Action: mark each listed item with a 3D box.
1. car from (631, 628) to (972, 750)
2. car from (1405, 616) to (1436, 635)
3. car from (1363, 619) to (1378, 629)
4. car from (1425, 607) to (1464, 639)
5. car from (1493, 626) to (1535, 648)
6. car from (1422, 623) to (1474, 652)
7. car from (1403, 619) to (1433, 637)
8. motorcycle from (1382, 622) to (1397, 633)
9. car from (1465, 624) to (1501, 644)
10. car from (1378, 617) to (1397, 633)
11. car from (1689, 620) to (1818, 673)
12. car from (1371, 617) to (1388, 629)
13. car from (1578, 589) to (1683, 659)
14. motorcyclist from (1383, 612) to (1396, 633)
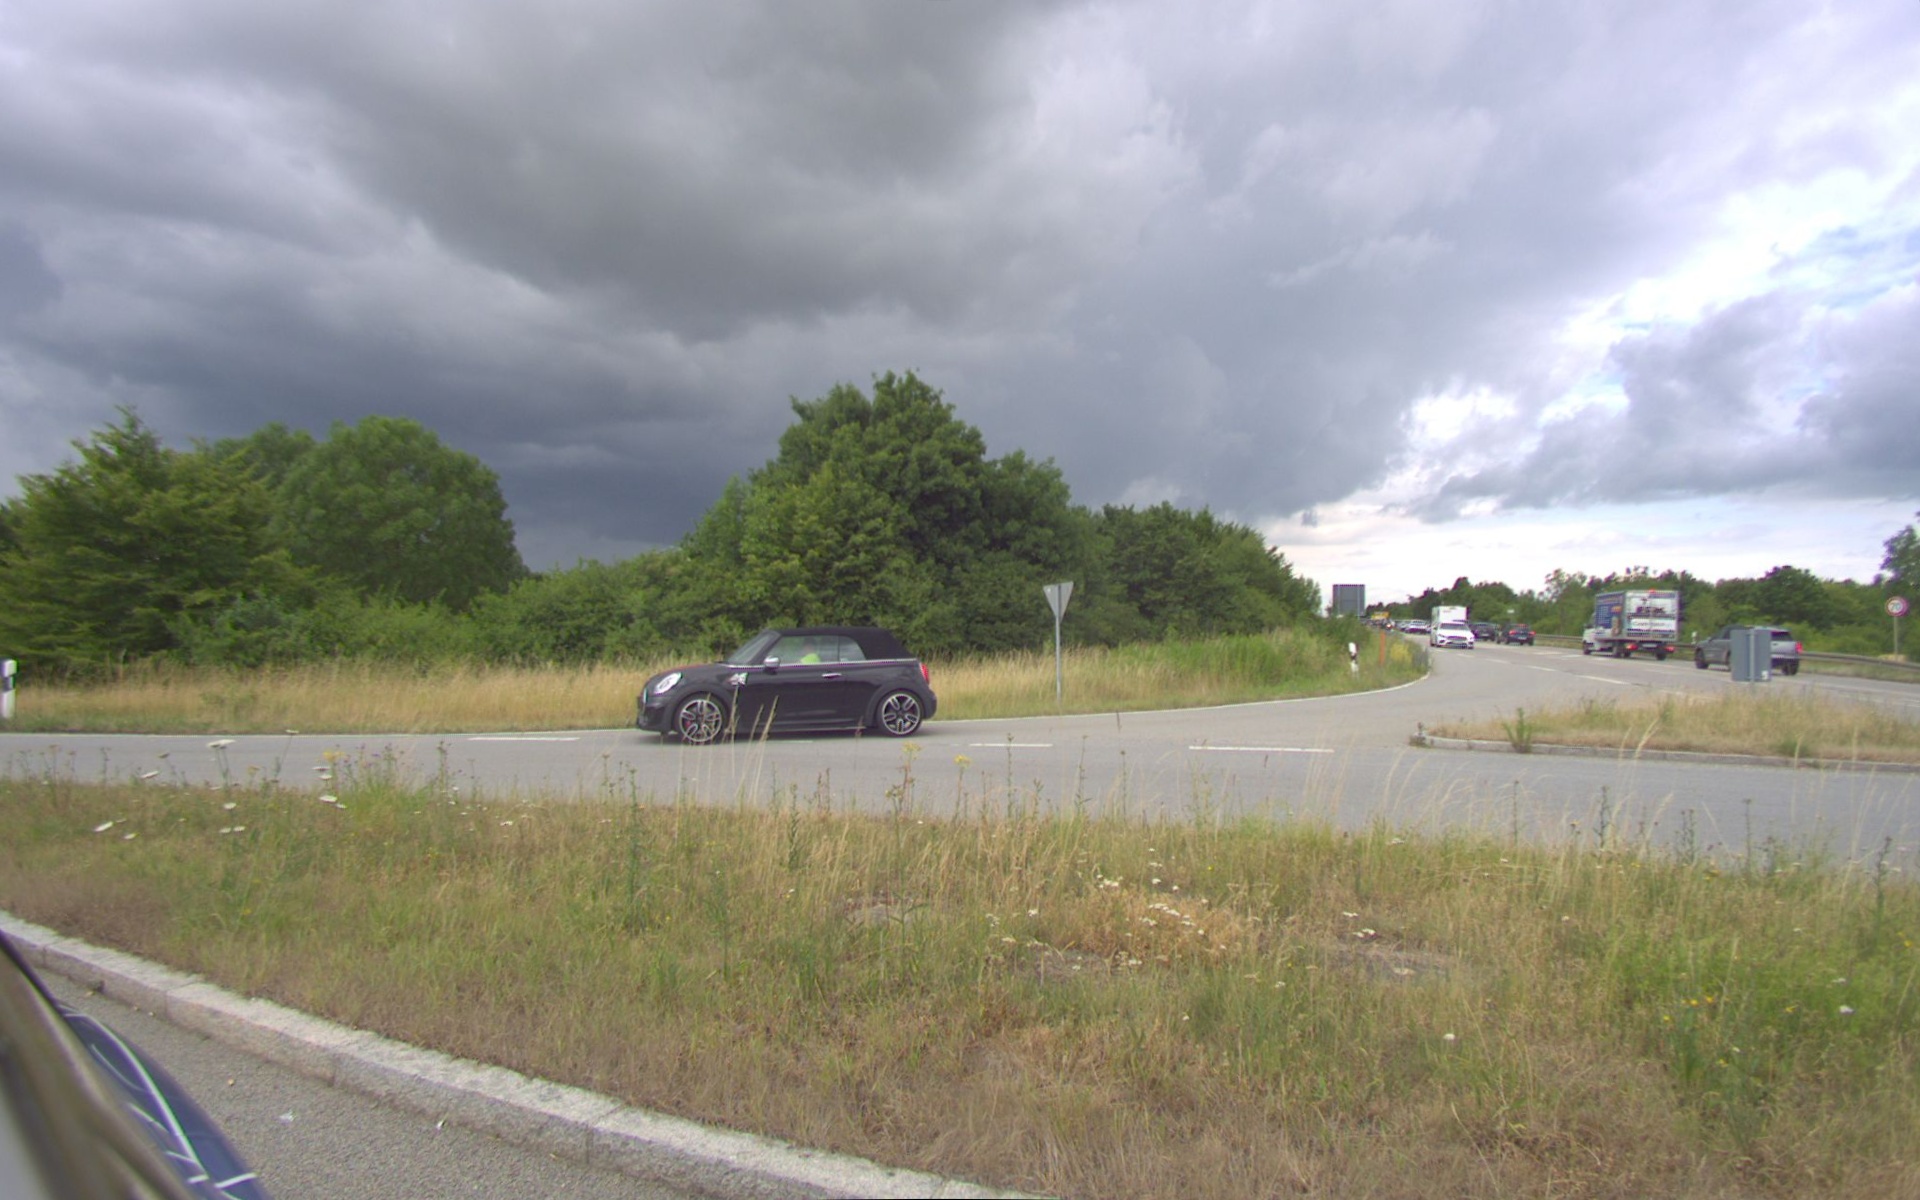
[{"bbox_3d":[-2.068,1.077,13.084,4.097,1.363,1.680,0,-3,-20],"label":"car"},{"bbox_3d":[48.761,2.755,107.293,2.321,1.936,4.848,0,-2,17],"label":"car"},{"bbox_3d":[64.383,3.816,158.873,1.782,1.564,3.978,0,-2,16],"label":"car"},{"bbox_3d":[46.704,2.247,97.682,2.320,3.052,6.522,0,-2,16],"label":"car"},{"bbox_3d":[39.259,2.628,71.789,1.833,1.537,3.977,0,-2,17],"label":"car"},{"bbox_3d":[26.006,2.016,54.078,1.756,1.462,4.369,0,-2,16],"label":"car"},{"bbox_3d":[51.018,3.108,112.862,2.320,1.936,4.849,0,-2,16],"label":"car"},{"bbox_3d":[37.382,2.403,88.077,0.936,0.896,2.134,0,-1,17],"label":"motorcycle"},{"bbox_3d":[42.259,2.768,81.788,1.832,1.537,3.978,0,-2,17],"label":"car"},{"bbox_3d":[55.294,3.285,130.827,1.781,2.029,3.979,0,-2,16],"label":"car"},{"bbox_3d":[27.440,1.594,35.180,1.982,1.636,4.239,3,-1,15],"label":"car"},{"bbox_3d":[59.527,3.297,143.719,1.781,1.564,3.979,0,-2,16],"label":"car"},{"bbox_3d":[31.949,1.180,48.507,2.321,3.052,6.521,2,-1,17],"label":"car"},{"bbox_3d":[37.358,1.966,87.977,0.936,1.763,1.194,0,-1,17],"label":"motorcyclist"}]
